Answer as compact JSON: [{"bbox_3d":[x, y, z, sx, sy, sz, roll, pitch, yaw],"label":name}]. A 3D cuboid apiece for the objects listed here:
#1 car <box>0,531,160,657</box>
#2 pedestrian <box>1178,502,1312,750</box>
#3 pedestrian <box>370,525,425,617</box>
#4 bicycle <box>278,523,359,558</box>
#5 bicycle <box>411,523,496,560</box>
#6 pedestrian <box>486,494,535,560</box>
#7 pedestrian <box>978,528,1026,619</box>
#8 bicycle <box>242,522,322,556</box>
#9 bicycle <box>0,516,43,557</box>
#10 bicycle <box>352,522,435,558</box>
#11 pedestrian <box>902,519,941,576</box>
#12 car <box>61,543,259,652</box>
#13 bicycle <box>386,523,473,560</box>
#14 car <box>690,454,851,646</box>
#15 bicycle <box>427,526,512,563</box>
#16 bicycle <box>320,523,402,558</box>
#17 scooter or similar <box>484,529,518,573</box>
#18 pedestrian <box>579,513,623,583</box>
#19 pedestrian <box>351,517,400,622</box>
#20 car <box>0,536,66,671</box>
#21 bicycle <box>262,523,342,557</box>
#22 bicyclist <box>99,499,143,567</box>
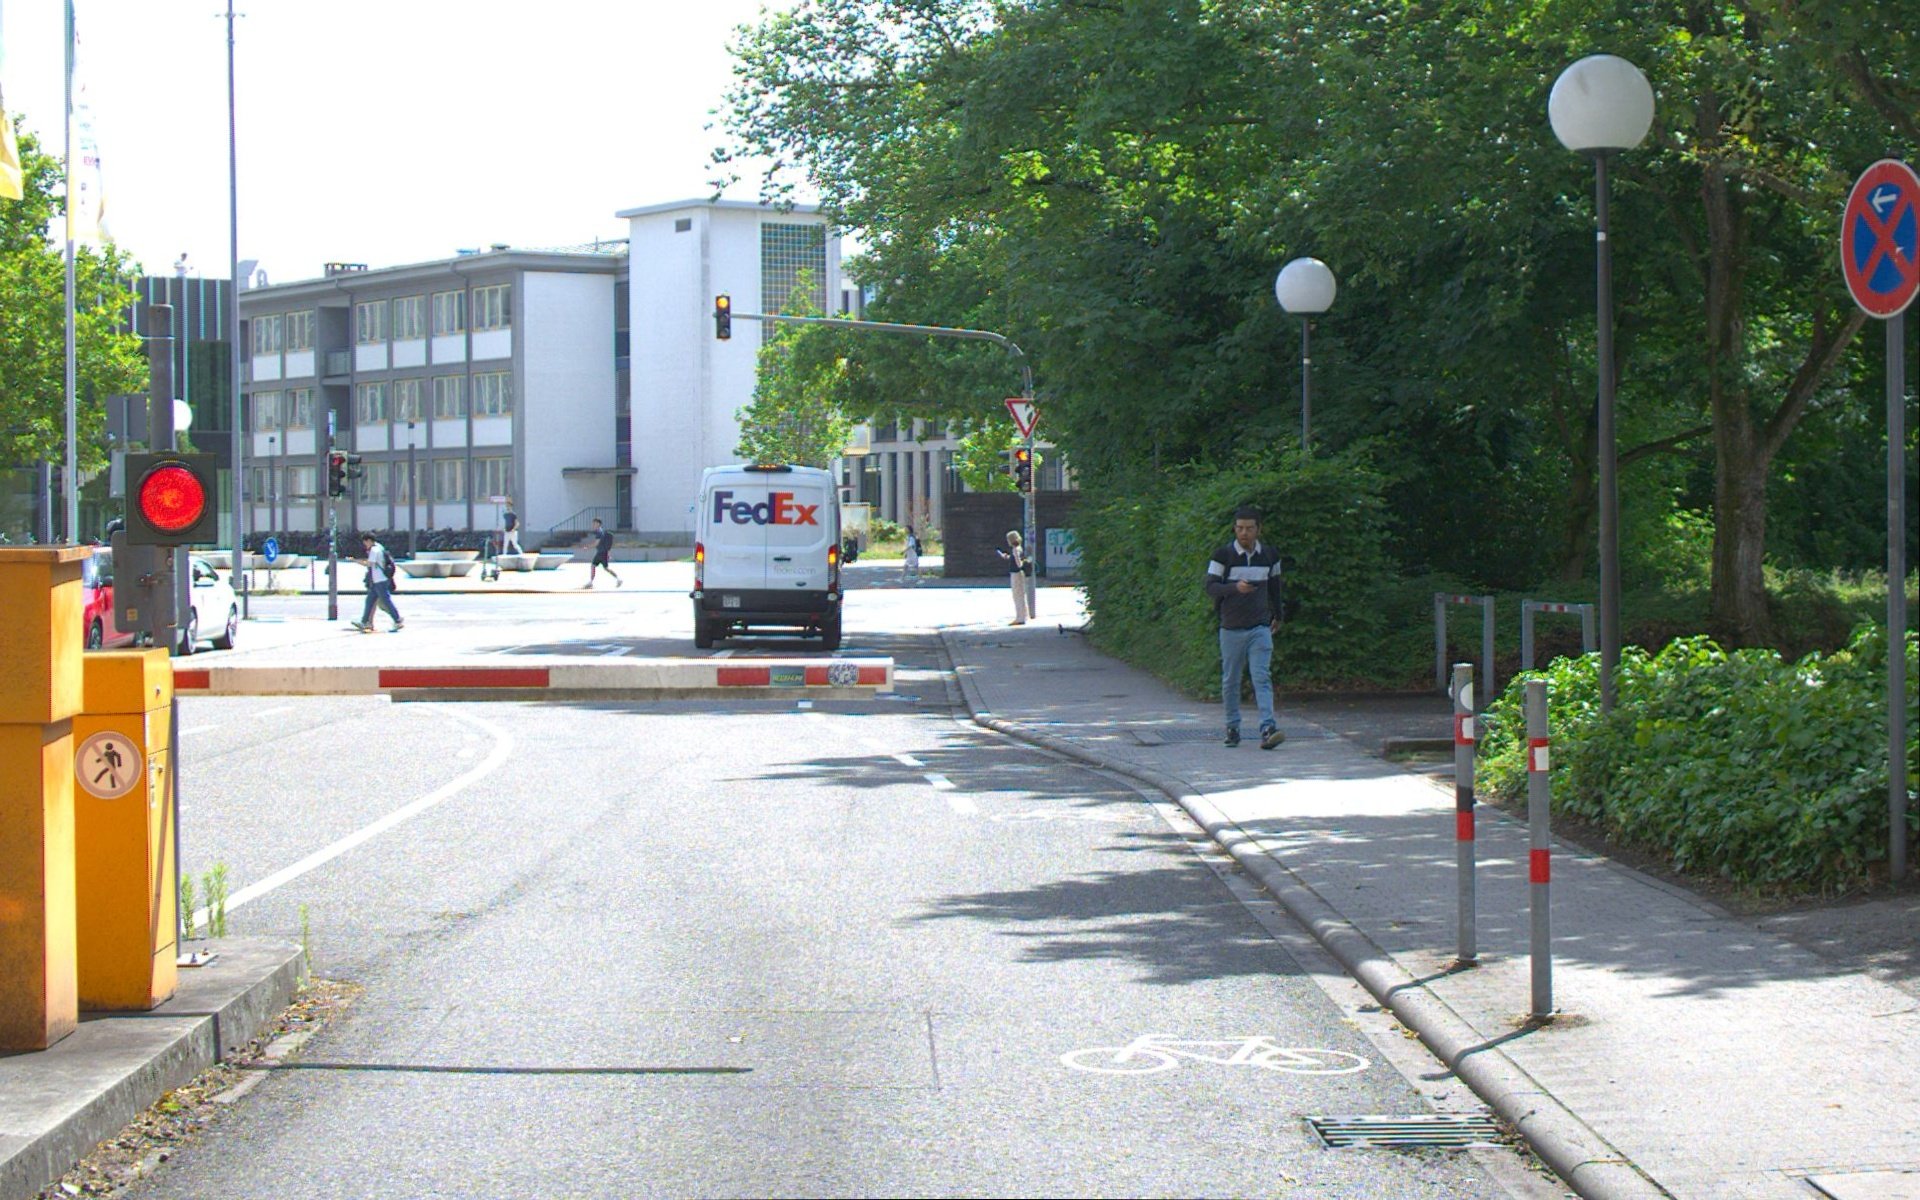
[{"bbox_3d":[-11.415,-0.111,43.431,1.676,1.462,3.911,2,1,0],"label":"car"},{"bbox_3d":[1.961,0.162,23.806,0.739,1.669,1.257,0,1,-4],"label":"pedestrian"},{"bbox_3d":[-10.153,-0.530,62.058,0.843,1.645,0.746,0,1,1],"label":"pedestrian"},{"bbox_3d":[-25.357,-2.359,135.880,2.956,1.359,1.117,0,1,-38],"label":"bicycle"},{"bbox_3d":[-18.781,-2.158,127.454,2.956,1.359,1.117,0,1,-38],"label":"bicycle"},{"bbox_3d":[-13.699,-2.224,104.777,1.141,2.007,1.155,0,1,13],"label":"pedestrian"},{"bbox_3d":[0.737,-0.466,60.040,0.731,1.570,0.776,1,1,-6],"label":"pedestrian"},{"bbox_3d":[-27.447,-2.450,139.191,2.956,1.359,1.117,0,1,-38],"label":"bicycle"},{"bbox_3d":[-29.238,-1.943,105.340,1.197,1.233,2.951,0,1,-37],"label":"bicycle"},{"bbox_3d":[-21.556,-2.277,130.876,2.956,1.359,1.117,0,1,-38],"label":"bicycle"},{"bbox_3d":[-1.033,-1.408,91.917,0.824,1.518,0.815,-1,1,-20],"label":"pedestrian"},{"bbox_3d":[-11.205,-0.072,48.420,1.676,1.390,4.663,2,1,0],"label":"car"},{"bbox_3d":[-19.849,-2.188,128.710,2.956,1.359,1.275,0,1,-38],"label":"bicycle"},{"bbox_3d":[-2.638,-0.745,48.974,2.095,2.558,5.603,-1,2,-1],"label":"car"},{"bbox_3d":[-18.022,-2.027,126.362,2.956,1.359,1.117,0,1,-38],"label":"bicycle"},{"bbox_3d":[-23.151,-2.296,132.975,2.956,1.359,1.117,0,1,-38],"label":"bicycle"},{"bbox_3d":[-12.562,-1.341,94.057,0.716,1.174,2.726,0,1,-11],"label":"scooter or similar"},{"bbox_3d":[-9.594,-1.396,91.833,1.080,1.864,0.832,-1,1,-2],"label":"pedestrian"},{"bbox_3d":[-10.360,-0.546,60.968,0.719,1.853,0.770,0,1,1],"label":"pedestrian"},{"bbox_3d":[-11.490,0.018,38.564,1.748,1.462,4.196,2,1,1],"label":"car"},{"bbox_3d":[-26.281,-2.393,137.357,2.956,1.359,1.117,0,1,-38],"label":"bicycle"},{"bbox_3d":[-22.531,-1.810,92.306,0.790,1.811,0.999,0,2,8],"label":"bicyclist"}]
